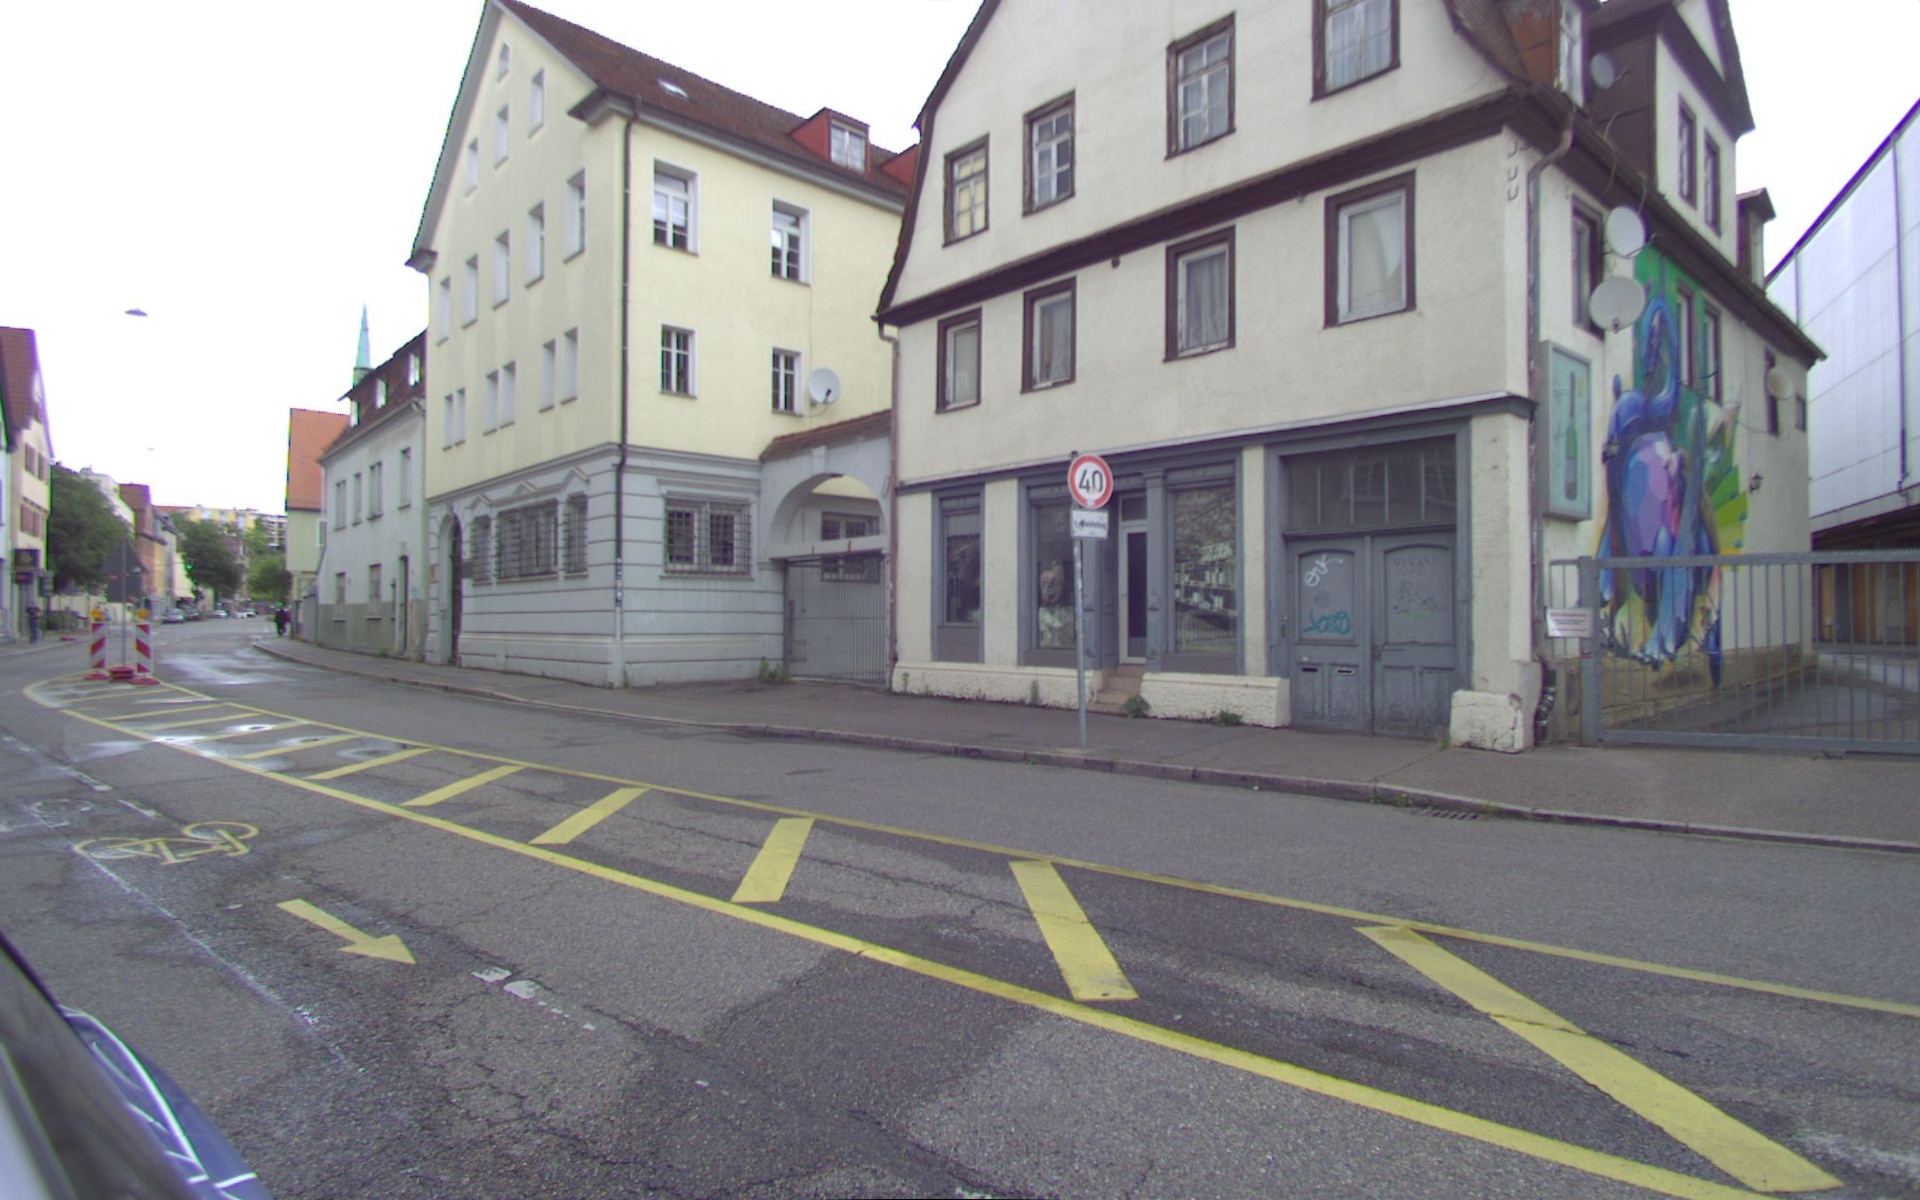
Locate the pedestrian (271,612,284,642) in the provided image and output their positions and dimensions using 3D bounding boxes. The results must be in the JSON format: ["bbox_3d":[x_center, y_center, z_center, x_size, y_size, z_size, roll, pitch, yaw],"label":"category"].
[{"bbox_3d":[-40.334,1.605,59.824,0.583,1.793,0.506,1,-2,-33],"label":"pedestrian"}]
